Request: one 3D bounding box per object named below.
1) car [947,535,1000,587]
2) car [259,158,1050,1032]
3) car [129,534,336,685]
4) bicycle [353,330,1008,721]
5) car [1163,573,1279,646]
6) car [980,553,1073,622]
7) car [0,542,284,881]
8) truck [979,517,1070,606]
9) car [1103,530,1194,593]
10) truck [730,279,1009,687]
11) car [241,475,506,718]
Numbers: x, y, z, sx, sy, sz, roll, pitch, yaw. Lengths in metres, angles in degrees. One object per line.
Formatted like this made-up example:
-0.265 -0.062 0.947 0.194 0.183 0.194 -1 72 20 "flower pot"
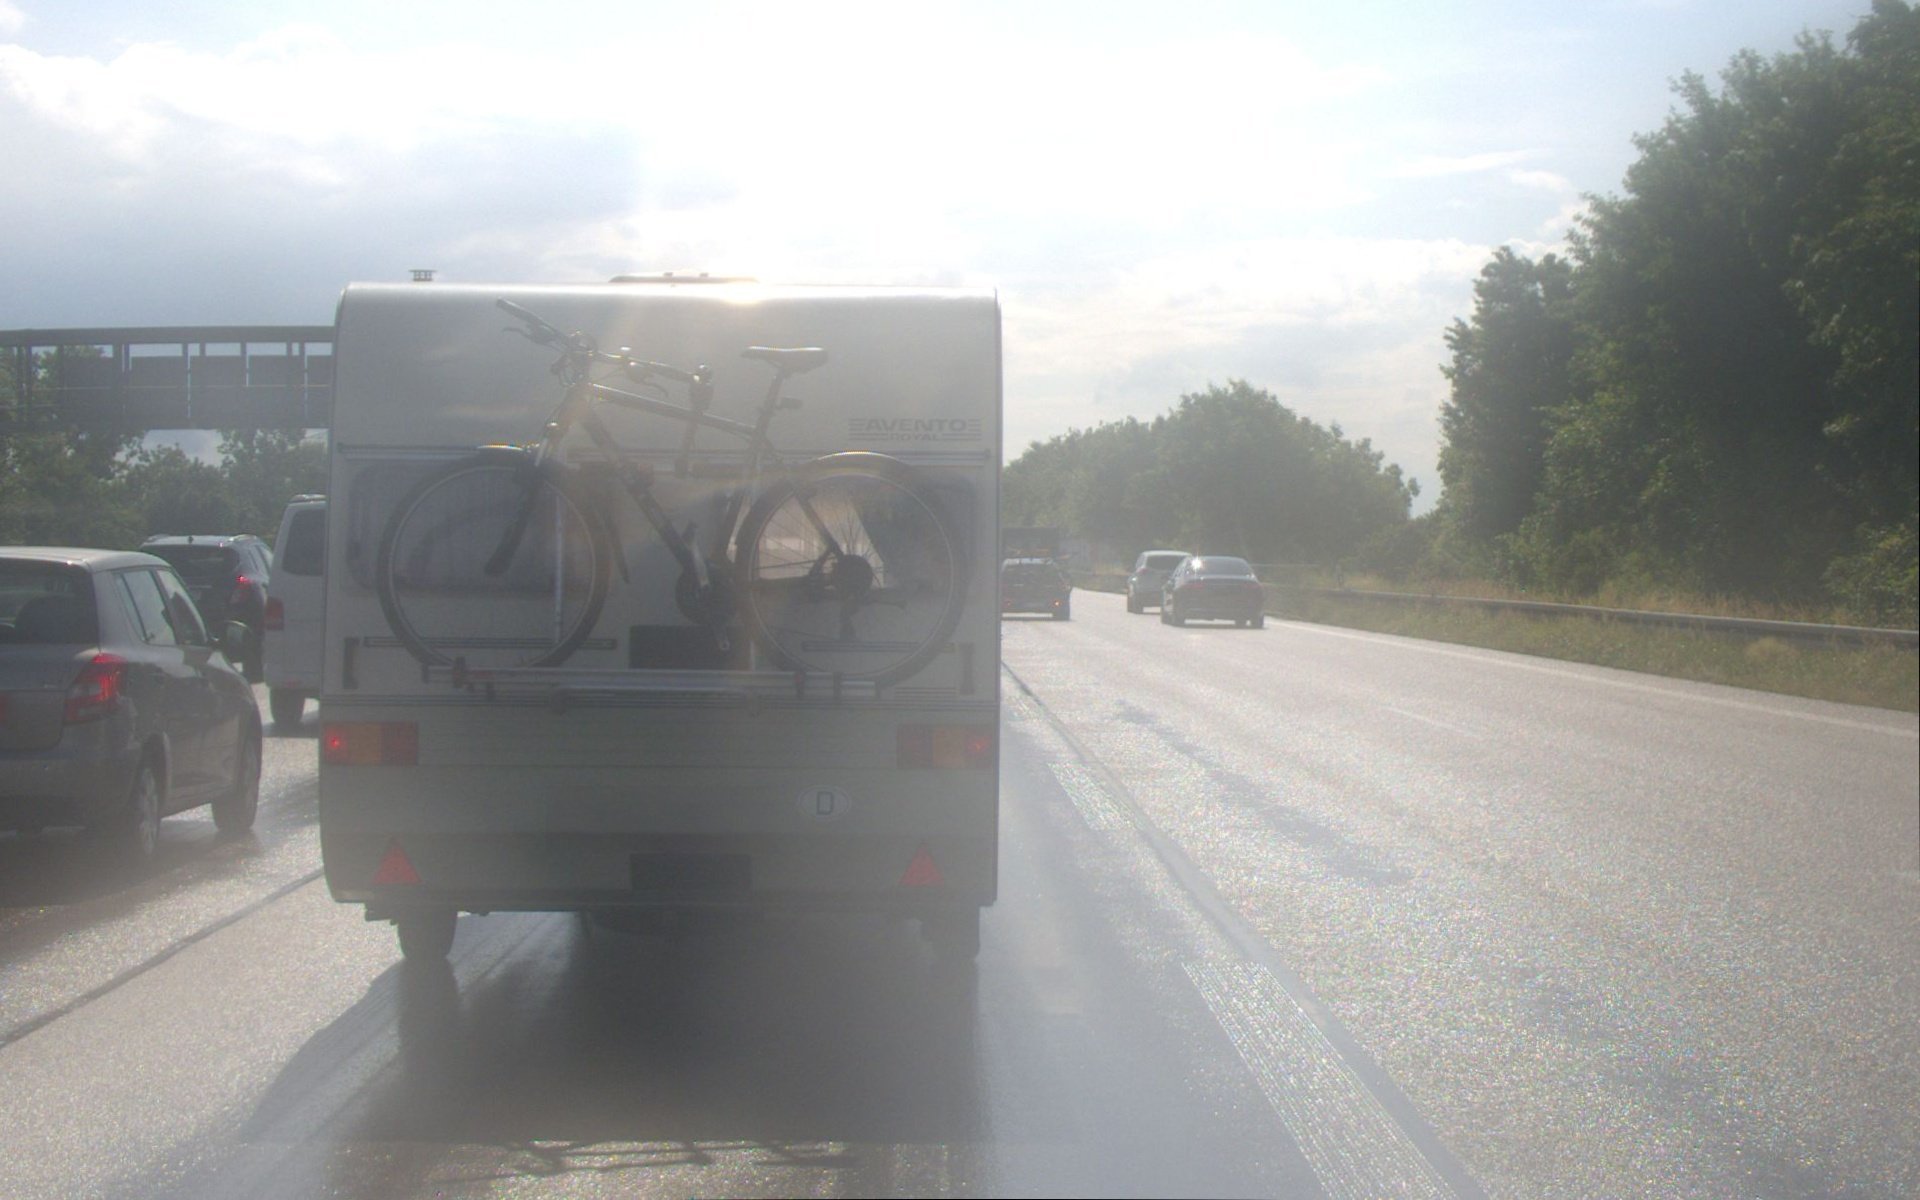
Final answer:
0.447 -1.313 113.782 1.719 1.678 4.000 0 1 0 "car"
-0.948 -0.034 12.615 2.410 2.665 4.000 1 1 0 "car"
-8.455 0.082 40.245 1.771 1.656 4.001 1 1 -3 "car"
-0.830 -0.223 10.411 1.934 1.137 0.384 1 0 0 "bicycle"
5.578 0.192 73.952 1.876 1.489 4.001 1 1 -5 "car"
1.549 -0.306 81.048 1.835 1.552 4.001 1 1 -4 "car"
-4.665 0.447 16.754 1.987 1.453 3.827 0 1 0 "car"
1.792 -1.099 97.672 2.415 2.435 6.053 0 1 0 "truck"
4.971 -1.025 91.114 1.876 1.623 4.001 1 1 -5 "car"
-1.197 -1.395 44.383 3.146 4.610 10.737 0 1 -2 "truck"
-5.164 -0.052 30.722 1.876 2.007 4.001 1 1 -3 "car"
